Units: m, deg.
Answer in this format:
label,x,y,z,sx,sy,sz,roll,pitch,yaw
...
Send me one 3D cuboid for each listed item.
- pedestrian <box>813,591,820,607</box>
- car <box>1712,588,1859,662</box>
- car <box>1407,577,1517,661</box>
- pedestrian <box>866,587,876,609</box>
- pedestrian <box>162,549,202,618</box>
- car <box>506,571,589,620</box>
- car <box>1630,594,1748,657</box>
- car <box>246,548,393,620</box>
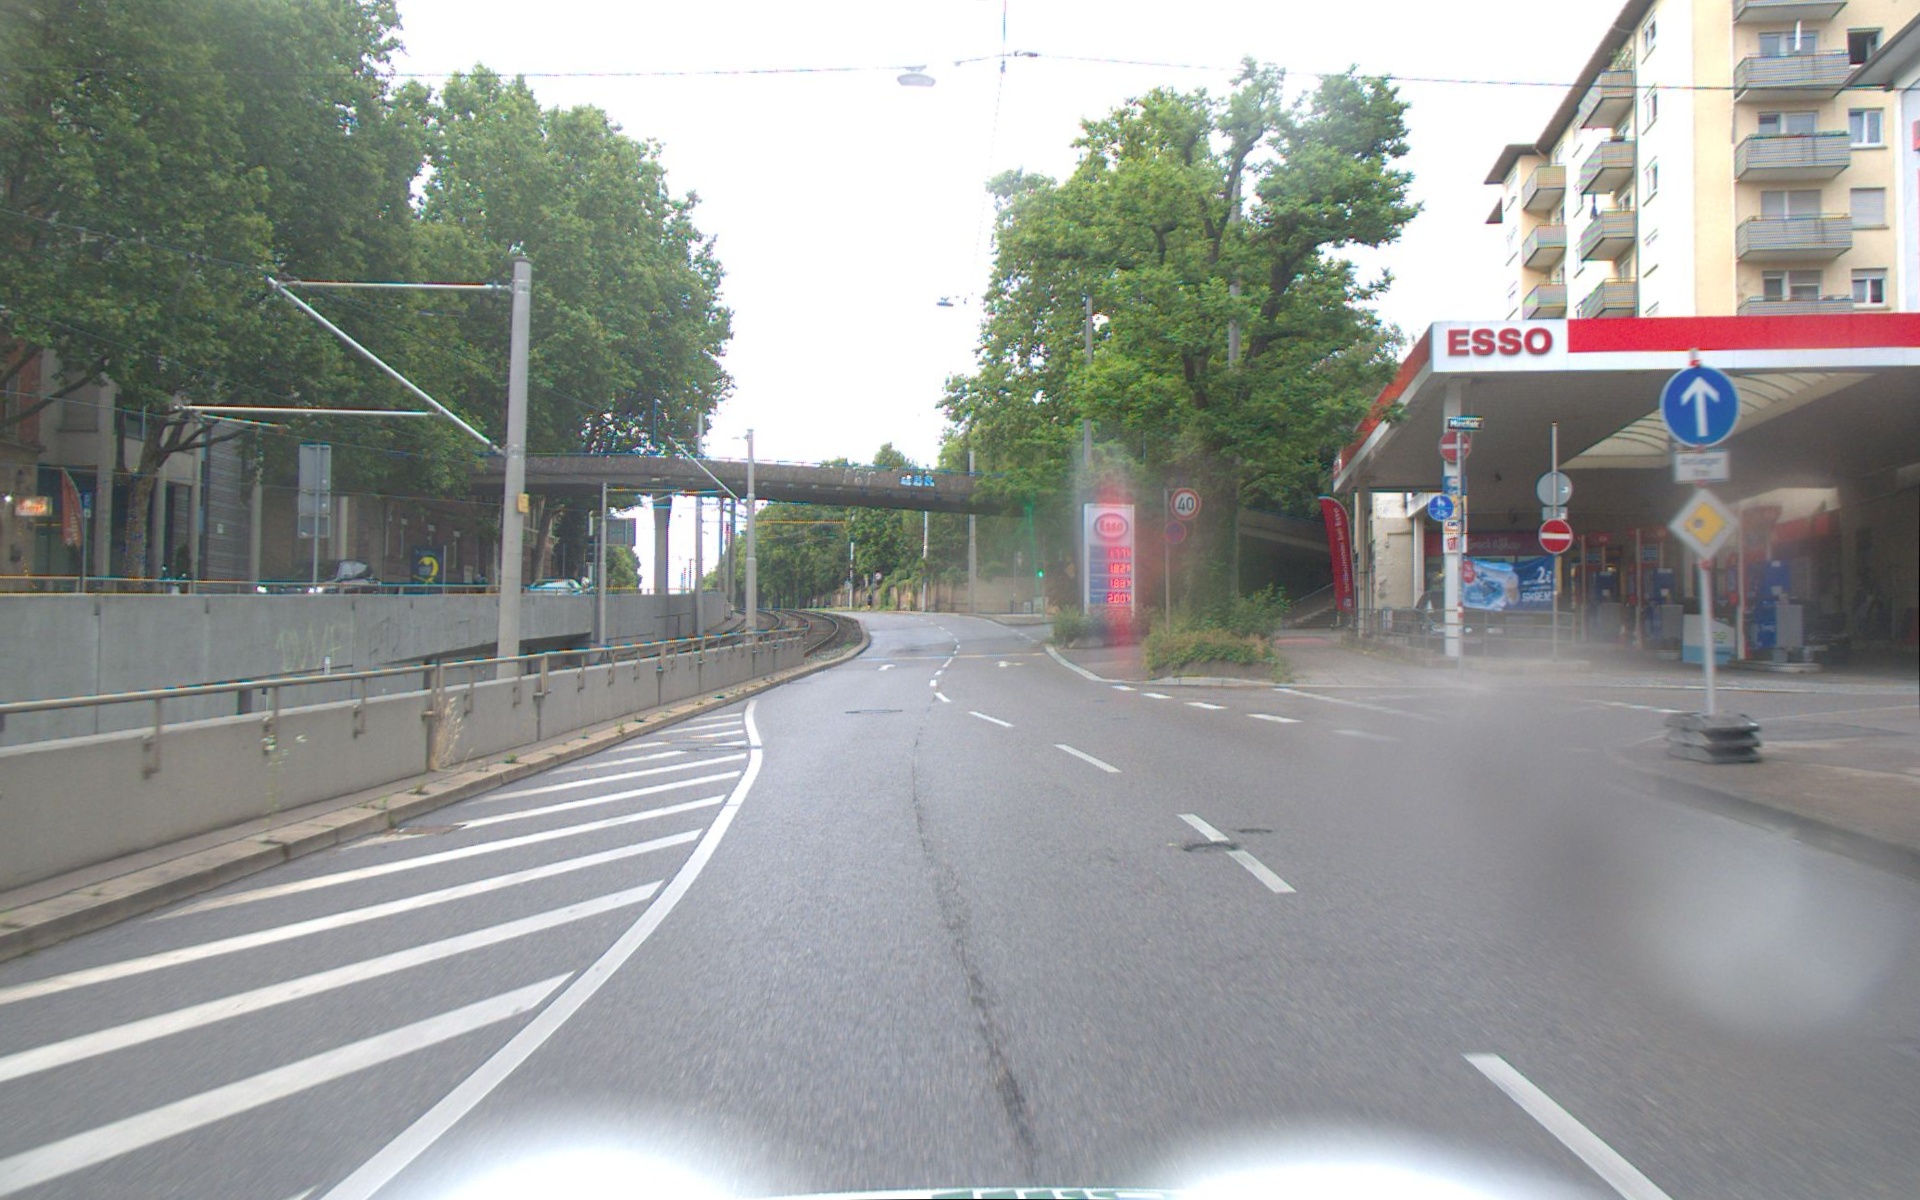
label,x,y,z,sx,sy,sz,roll,pitch,yaw
pedestrian,-15.647,-0.111,180.423,0.707,1.717,0.727,2,-1,-12
car,18.727,0.592,37.695,1.756,1.537,4.003,2,-1,8
car,10.556,0.410,35.023,1.734,1.652,3.869,-2,-1,10
pedestrian,-7.929,-0.165,147.830,0.707,1.882,0.781,2,-1,-12
pedestrian,-23.946,-0.504,50.928,0.655,2.049,0.935,2,-1,4
car,-14.055,-0.152,56.517,1.757,1.536,4.000,2,0,0
car,19.524,0.697,44.493,1.756,1.537,4.234,2,-1,8
car,-18.065,-0.425,46.926,1.915,1.885,4.970,2,0,3
